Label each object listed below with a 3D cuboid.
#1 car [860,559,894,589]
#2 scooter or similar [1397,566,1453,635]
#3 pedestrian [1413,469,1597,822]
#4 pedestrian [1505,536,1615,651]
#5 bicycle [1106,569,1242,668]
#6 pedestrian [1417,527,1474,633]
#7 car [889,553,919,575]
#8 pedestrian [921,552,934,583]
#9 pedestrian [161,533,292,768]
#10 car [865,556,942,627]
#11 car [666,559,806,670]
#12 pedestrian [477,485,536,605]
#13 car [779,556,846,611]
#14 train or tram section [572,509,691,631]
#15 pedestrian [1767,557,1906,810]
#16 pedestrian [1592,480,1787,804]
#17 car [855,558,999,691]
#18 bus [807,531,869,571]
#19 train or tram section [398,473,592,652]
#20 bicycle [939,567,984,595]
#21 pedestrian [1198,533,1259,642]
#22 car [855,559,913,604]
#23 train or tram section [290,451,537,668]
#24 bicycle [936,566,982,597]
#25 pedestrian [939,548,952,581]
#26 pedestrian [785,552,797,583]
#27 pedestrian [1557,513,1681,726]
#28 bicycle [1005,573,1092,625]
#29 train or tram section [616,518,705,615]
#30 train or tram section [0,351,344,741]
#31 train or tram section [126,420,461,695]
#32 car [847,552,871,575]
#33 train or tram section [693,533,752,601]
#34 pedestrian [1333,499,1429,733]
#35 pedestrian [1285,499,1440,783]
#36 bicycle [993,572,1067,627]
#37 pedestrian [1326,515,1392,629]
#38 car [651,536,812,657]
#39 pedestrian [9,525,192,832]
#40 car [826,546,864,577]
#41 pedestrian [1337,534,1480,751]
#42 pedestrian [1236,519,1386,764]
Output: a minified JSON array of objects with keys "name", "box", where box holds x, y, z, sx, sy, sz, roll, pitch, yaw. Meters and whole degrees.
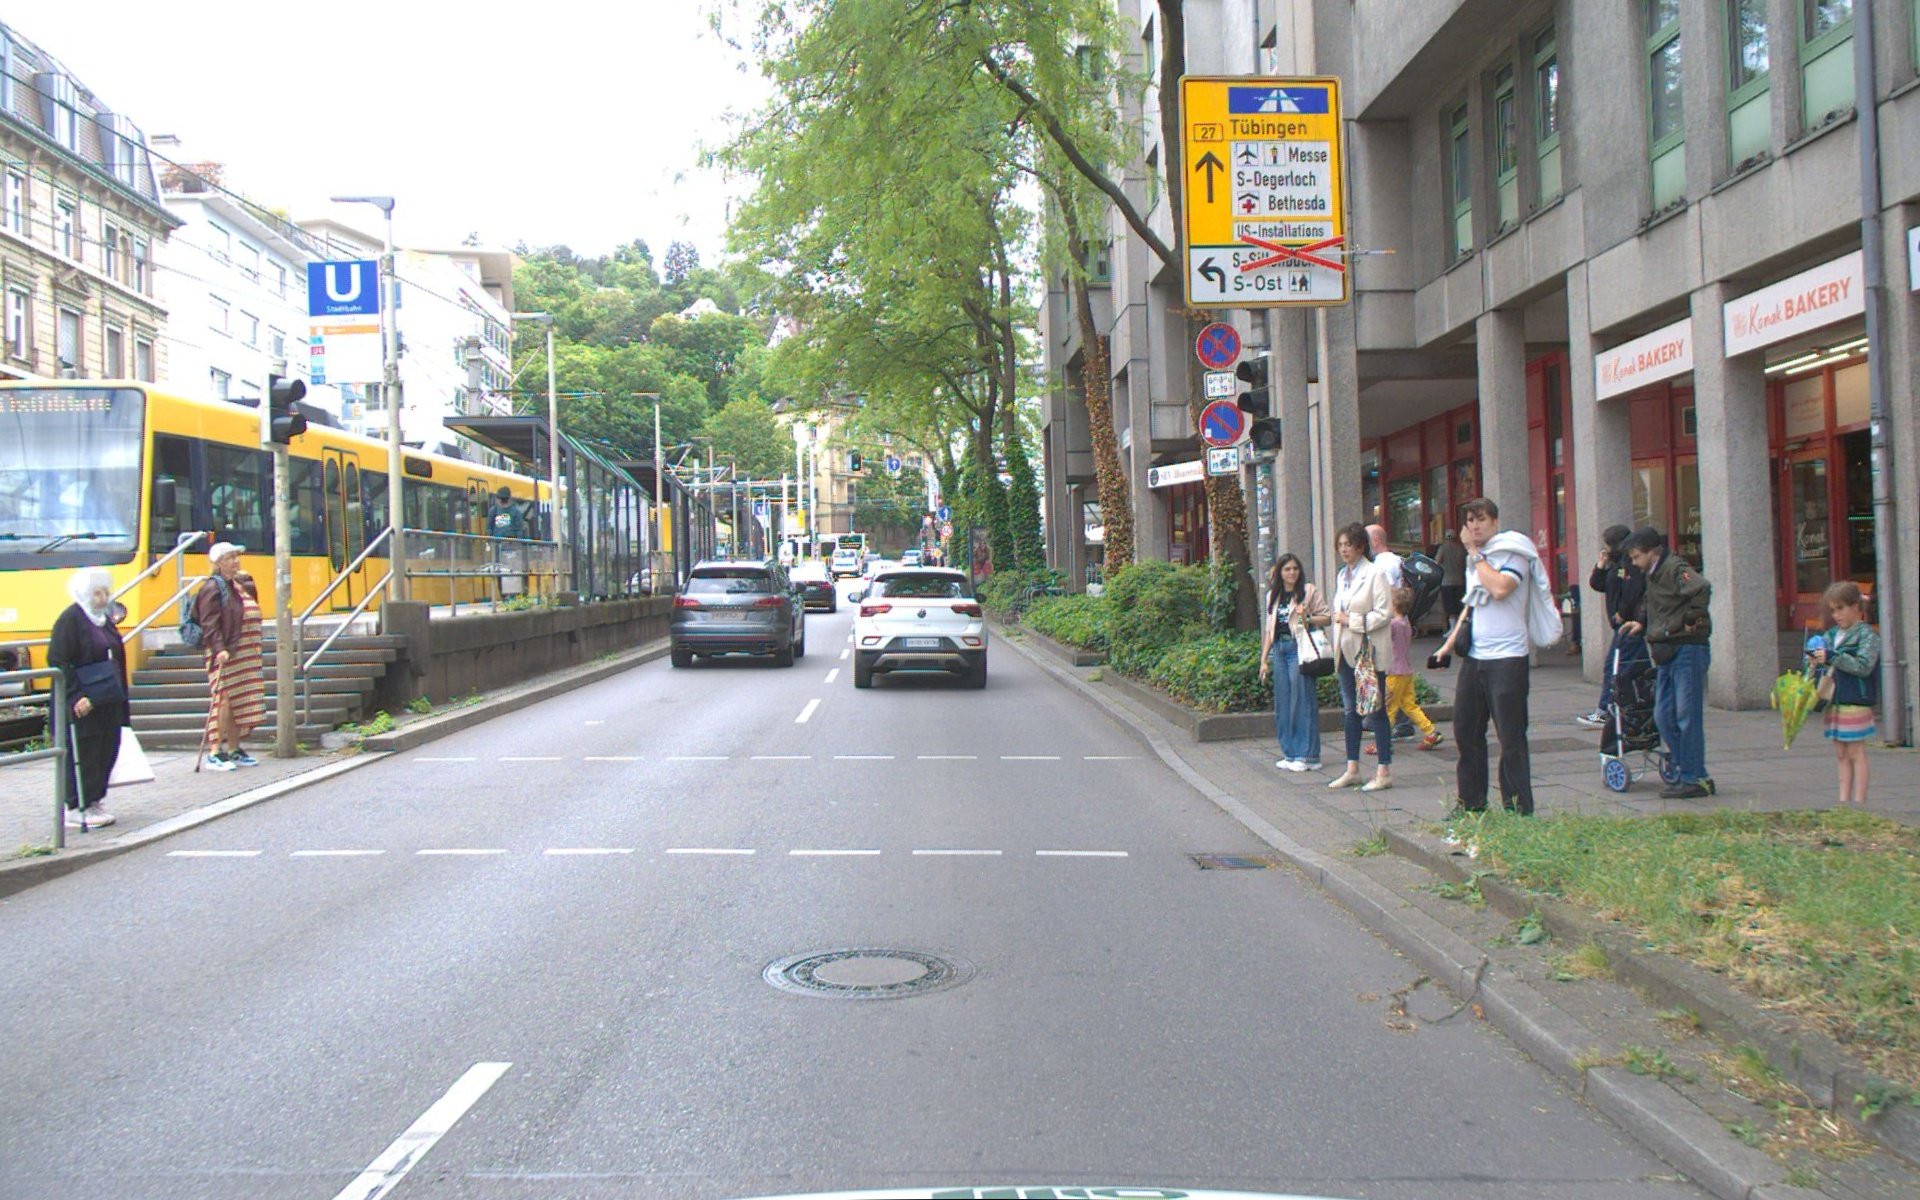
[{"name":"car","box":[-5.046,-1.576,100.751,1.846,1.713,4.160,0,0,0]},{"name":"scooter or similar","box":[7.982,0.007,28.420,0.837,1.129,0.765,-3,0,13]},{"name":"pedestrian","box":[3.073,0.244,9.381,0.720,1.907,0.732,-1,-1,-7]},{"name":"pedestrian","box":[7.668,-0.094,21.171,1.036,1.387,0.755,-3,1,-9]},{"name":"bicycle","box":[2.823,0.238,21.839,1.677,1.204,0.447,-3,1,-10]},{"name":"pedestrian","box":[8.080,-0.336,27.566,0.746,1.753,0.677,0,1,0]},{"name":"car","box":[-4.633,-2.953,136.440,1.851,1.713,4.149,0,0,-12]},{"name":"pedestrian","box":[-2.140,-2.155,109.152,0.746,2.049,0.838,0,-1,2]},{"name":"pedestrian","box":[-5.598,0.370,12.655,0.672,1.741,0.711,-1,1,-3]},{"name":"car","box":[-1.474,-0.204,42.221,1.847,1.713,4.158,0,0,-3]},{"name":"car","box":[-3.599,0.171,27.253,1.954,1.664,3.998,-1,1,-3]},{"name":"pedestrian","box":[-6.790,-0.813,24.783,0.703,1.761,0.670,0,-1,-1]},{"name":"car","box":[-4.796,-0.570,54.217,1.873,1.719,4.000,0,1,-1]},{"name":"train or tram section","box":[-10.591,-0.964,53.920,2.756,3.730,6.749,0,1,-2]},{"name":"pedestrian","box":[4.844,0.446,9.158,0.462,1.357,0.519,0,-1,-7]},{"name":"pedestrian","box":[4.380,0.222,9.971,0.707,1.834,0.833,-3,3,-7]},{"name":"car","box":[-0.545,0.257,22.878,1.801,1.611,4.155,0,2,-4]},{"name":"bus","box":[-10.970,-4.269,147.384,3.315,3.118,13.275,0,0,-14]},{"name":"train or tram section","box":[-9.950,-0.779,36.007,2.778,3.582,5.749,0,1,-2]},{"name":"bicycle","box":[0.072,-0.809,70.500,1.841,1.157,0.808,0,-1,3]},{"name":"pedestrian","box":[4.616,-0.225,28.466,0.748,1.813,0.847,-3,3,-8]},{"name":"car","box":[-3.034,-0.709,65.085,1.850,1.713,4.152,0,0,-9]},{"name":"train or tram section","box":[-9.770,-0.700,30.229,2.778,3.582,5.749,0,1,-2]},{"name":"bicycle","box":[-0.030,-0.758,69.002,1.841,1.288,0.765,0,-1,8]},{"name":"pedestrian","box":[-0.891,-2.200,103.821,0.746,2.049,0.838,0,-1,2]},{"name":"pedestrian","box":[-11.256,-2.132,109.961,0.746,2.049,0.838,0,-1,-2]},{"name":"pedestrian","box":[5.293,0.136,13.308,0.604,1.640,0.763,-3,3,-7]},{"name":"bicycle","box":[2.049,-0.022,38.329,1.879,1.095,0.612,-3,1,-6]},{"name":"train or tram section","box":[-12.072,-1.333,67.142,2.757,3.730,6.747,0,1,-4]},{"name":"train or tram section","box":[-9.357,-0.550,18.719,2.778,3.743,5.749,0,1,-2]},{"name":"train or tram section","box":[-9.566,-0.592,24.480,2.778,3.582,5.749,0,1,-2]},{"name":"car","box":[-8.125,-2.919,133.056,1.847,1.713,4.159,0,0,-2]},{"name":"train or tram section","box":[-13.573,-1.878,94.991,2.757,3.730,6.747,0,1,-4]},{"name":"pedestrian","box":[3.379,0.125,13.312,0.508,1.820,0.763,0,-1,-7]},{"name":"pedestrian","box":[2.729,0.268,11.266,0.680,1.808,0.688,-5,0,-7]},{"name":"bicycle","box":[1.569,-0.015,37.085,1.587,1.147,0.613,-3,1,1]},{"name":"pedestrian","box":[6.642,-0.462,27.541,0.815,1.834,0.723,-3,0,-3]},{"name":"car","box":[-4.112,-0.048,30.645,2.316,2.049,5.147,0,0,-1]},{"name":"pedestrian","box":[-5.110,0.441,9.882,0.622,1.741,0.871,-1,1,-3]},{"name":"car","box":[-8.194,-2.756,118.575,2.316,2.049,5.148,0,0,1]},{"name":"pedestrian","box":[3.390,0.315,12.545,0.820,1.590,0.763,0,-1,-7]},{"name":"pedestrian","box":[2.615,0.293,12.394,0.820,1.733,0.763,-3,1,-7]}]
